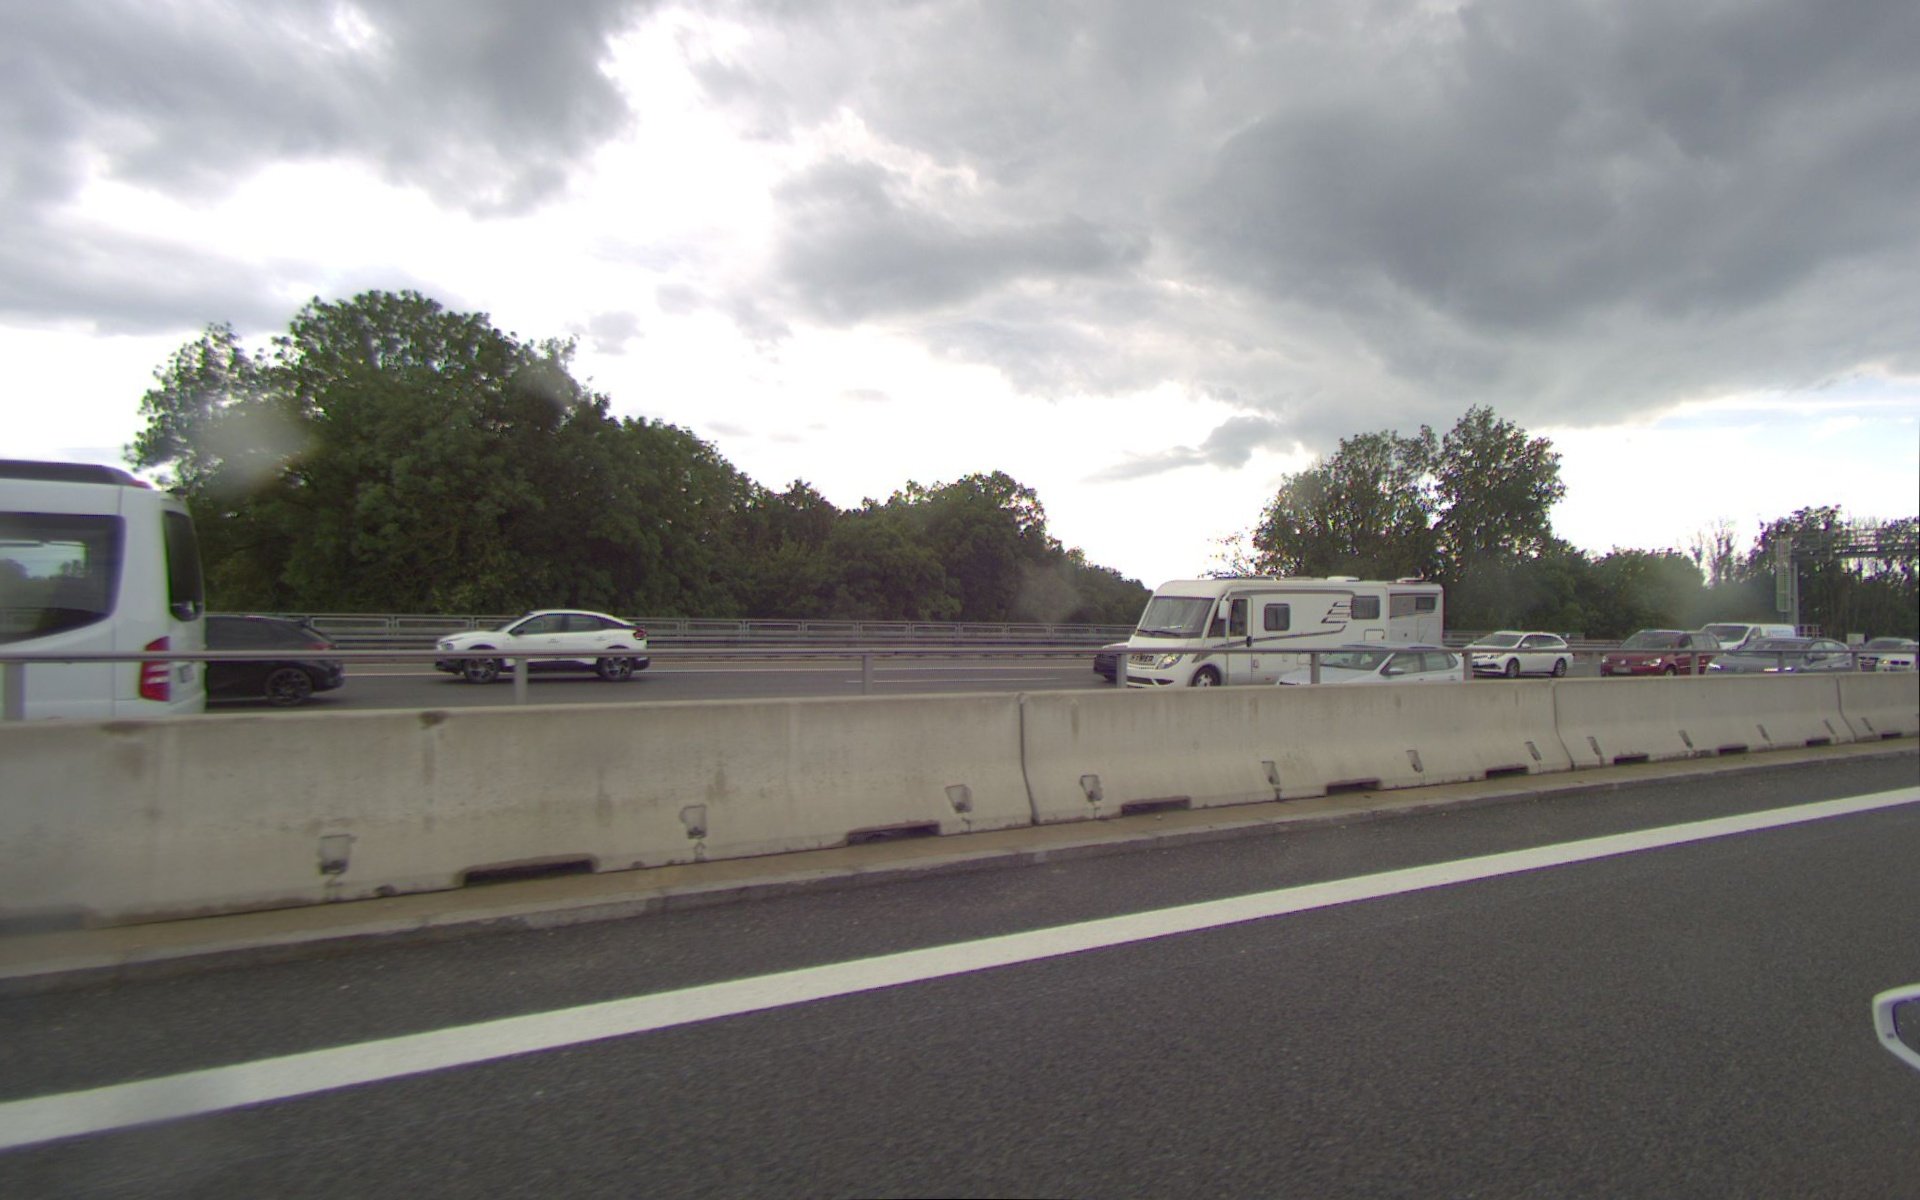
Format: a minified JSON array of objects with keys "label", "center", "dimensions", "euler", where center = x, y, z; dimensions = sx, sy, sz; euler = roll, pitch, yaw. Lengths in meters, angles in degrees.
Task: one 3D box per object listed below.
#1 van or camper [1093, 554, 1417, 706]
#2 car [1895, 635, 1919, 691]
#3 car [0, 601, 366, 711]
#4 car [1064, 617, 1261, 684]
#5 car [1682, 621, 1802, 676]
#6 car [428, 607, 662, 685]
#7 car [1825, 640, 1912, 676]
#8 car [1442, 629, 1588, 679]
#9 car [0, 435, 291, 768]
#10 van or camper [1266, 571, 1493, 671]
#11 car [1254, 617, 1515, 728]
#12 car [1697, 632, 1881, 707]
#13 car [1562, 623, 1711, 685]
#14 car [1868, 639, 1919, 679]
[{"label":"van or camper","center":[6.748,0.671,22.645],"dimensions":[7.269,2.990,2.613],"euler":[2,0,-29]},{"label":"car","center":[31.164,1.988,31.049],"dimensions":[4.998,1.668,1.716],"euler":[2,0,-28]},{"label":"car","center":[-11.924,0.839,15.618],"dimensions":[4.462,1.484,1.716],"euler":[2,0,-28]},{"label":"car","center":[5.331,1.311,26.288],"dimensions":[4.955,1.568,1.840],"euler":[2,0,-28]},{"label":"car","center":[30.600,1.898,39.273],"dimensions":[5.482,1.962,1.680],"euler":[2,0,-30]},{"label":"car","center":[-8.847,0.988,21.549],"dimensions":[4.462,1.484,1.716],"euler":[2,0,-28]},{"label":"car","center":[41.337,2.621,45.703],"dimensions":[3.912,1.498,1.715],"euler":[2,0,-29]},{"label":"car","center":[18.152,1.762,32.796],"dimensions":[4.955,1.475,1.716],"euler":[2,0,-28]},{"label":"car","center":[-10.934,0.010,8.069],"dimensions":[9.050,2.786,2.222],"euler":[0,0,-29]},{"label":"van or camper","center":[14.690,0.755,34.957],"dimensions":[8.374,3.164,2.613],"euler":[2,0,-29]},{"label":"car","center":[7.378,1.202,17.368],"dimensions":[4.463,1.668,1.716],"euler":[2,0,-29]},{"label":"car","center":[20.775,1.707,25.134],"dimensions":[4.998,1.668,1.716],"euler":[2,0,-28]},{"label":"car","center":[20.018,1.586,29.695],"dimensions":[4.462,1.668,1.716],"euler":[2,0,-28]},{"label":"car","center":[37.903,2.322,39.576],"dimensions":[4.462,1.434,1.716],"euler":[2,0,-28]}]
